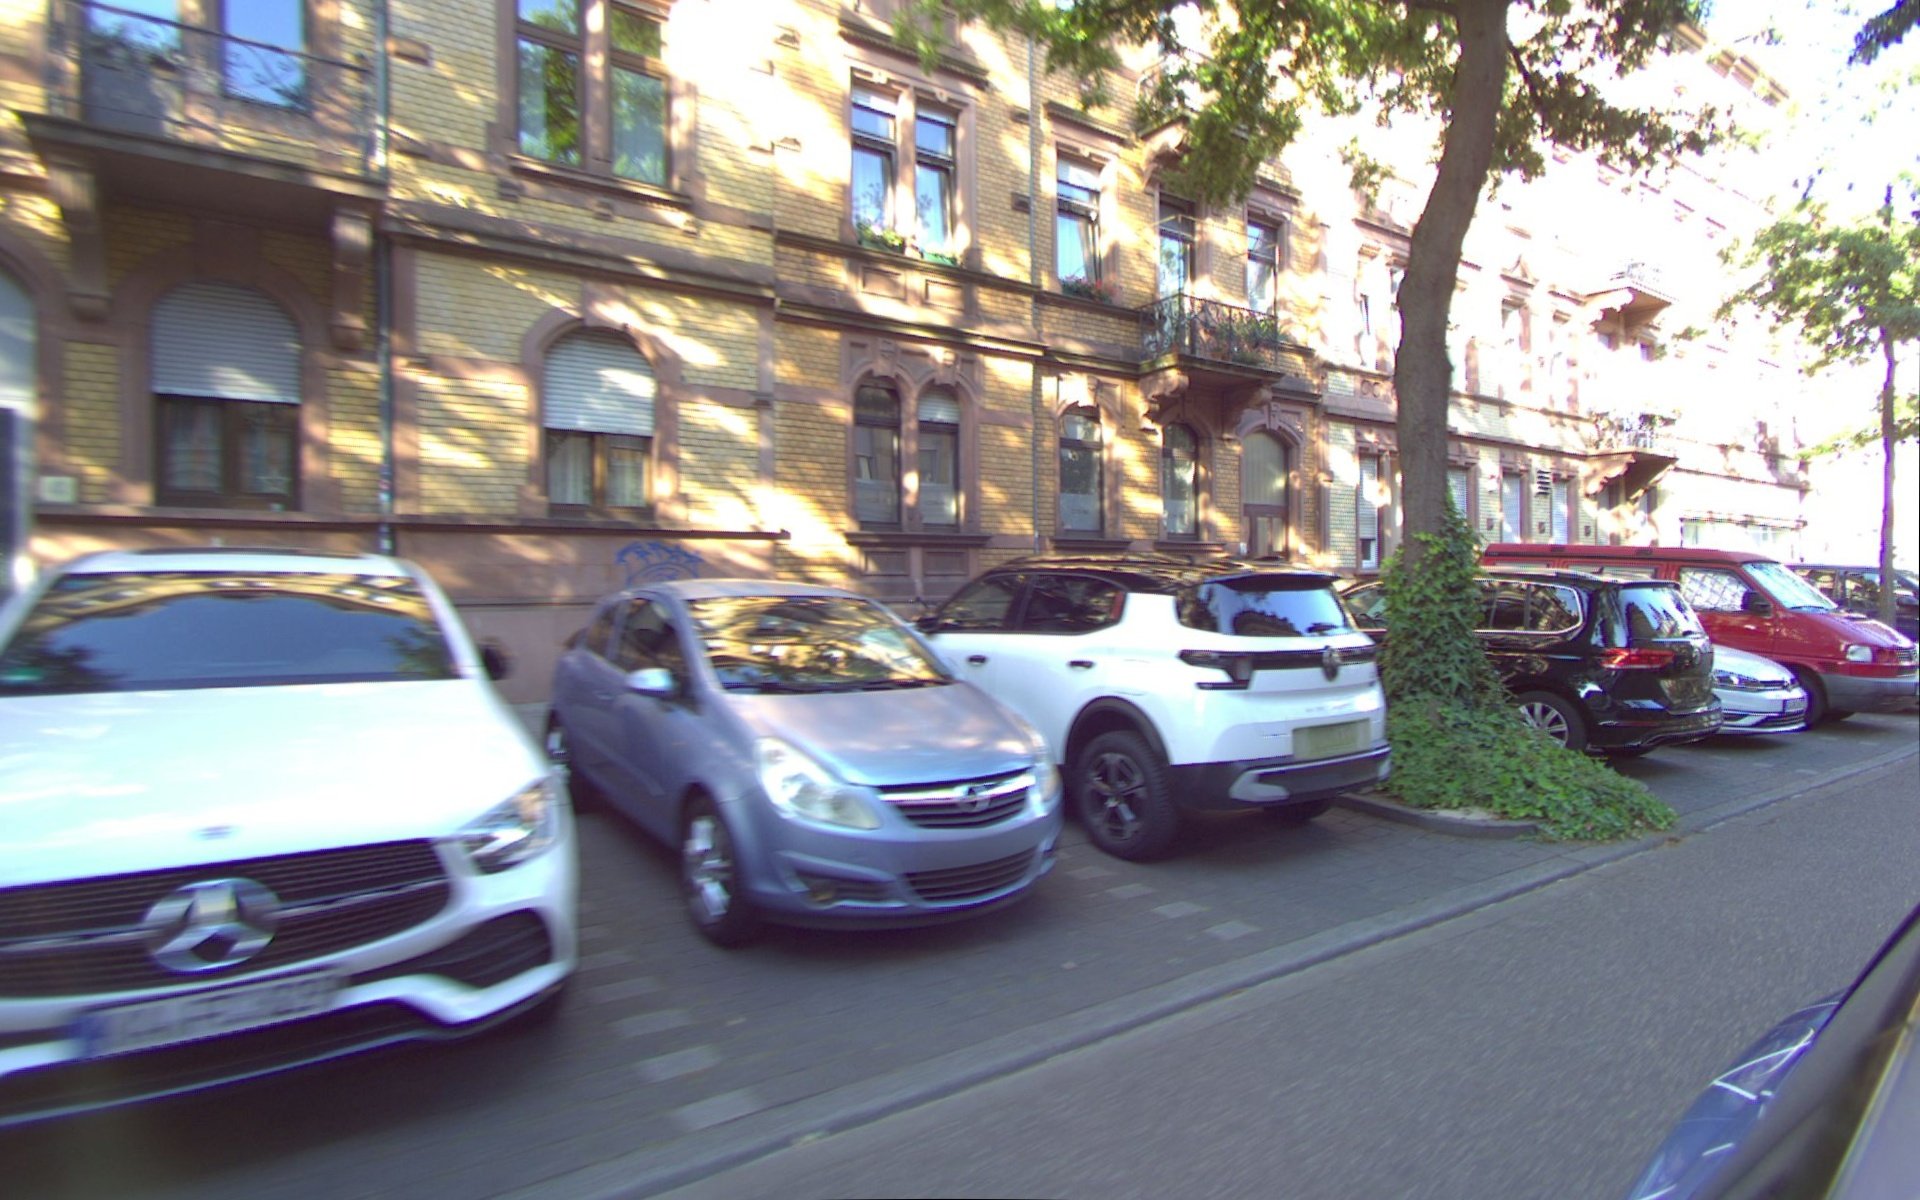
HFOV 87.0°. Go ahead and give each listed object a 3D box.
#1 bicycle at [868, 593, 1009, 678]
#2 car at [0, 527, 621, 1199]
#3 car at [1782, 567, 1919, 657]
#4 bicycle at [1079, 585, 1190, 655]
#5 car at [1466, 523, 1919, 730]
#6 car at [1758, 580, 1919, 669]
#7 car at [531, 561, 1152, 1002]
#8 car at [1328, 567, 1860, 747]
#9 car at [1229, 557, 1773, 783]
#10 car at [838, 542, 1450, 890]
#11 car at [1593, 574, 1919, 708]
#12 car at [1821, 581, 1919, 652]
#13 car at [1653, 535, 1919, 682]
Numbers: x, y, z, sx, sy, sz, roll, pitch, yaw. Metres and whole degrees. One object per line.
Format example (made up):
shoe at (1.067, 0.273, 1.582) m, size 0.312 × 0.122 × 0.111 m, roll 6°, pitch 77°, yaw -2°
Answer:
bicycle at (-0.246, 0.420, 12.663) m, size 1.832 × 0.974 × 0.406 m, roll -1°, pitch 3°, yaw -35°
car at (-2.914, 0.526, 4.232) m, size 1.814 × 1.575 × 4.362 m, roll 1°, pitch 2°, yaw -32°
car at (19.168, 0.225, 19.593) m, size 1.813 × 1.699 × 4.712 m, roll -1°, pitch 2°, yaw -25°
bicycle at (2.606, 0.269, 14.996) m, size 1.832 × 0.974 × 0.406 m, roll -1°, pitch 3°, yaw -35°
car at (9.029, 0.163, 12.473) m, size 1.843 × 2.058 × 4.692 m, roll -1°, pitch 3°, yaw -34°
car at (17.243, 0.414, 18.282) m, size 1.691 × 1.554 × 4.120 m, roll -1°, pitch 1°, yaw -33°
car at (-1.020, 0.552, 5.646) m, size 1.760 × 1.451 × 4.025 m, roll -1°, pitch 3°, yaw -35°
car at (6.699, 0.418, 11.322) m, size 1.842 × 1.533 × 4.694 m, roll -1°, pitch 3°, yaw -32°
car at (4.807, 0.423, 9.622) m, size 1.802 × 1.647 × 4.202 m, roll -1°, pitch 3°, yaw -34°
car at (0.918, 0.461, 6.930) m, size 1.771 × 1.647 × 4.024 m, roll -1°, pitch 3°, yaw -36°
car at (11.299, 0.450, 13.849) m, size 1.843 × 1.529 × 4.069 m, roll -1°, pitch 3°, yaw -35°
car at (21.146, 0.371, 20.890) m, size 1.815 × 1.430 × 4.806 m, roll -1°, pitch 2°, yaw -31°
car at (14.855, 0.116, 16.899) m, size 1.954 × 2.243 × 5.039 m, roll -1°, pitch 0°, yaw -33°
